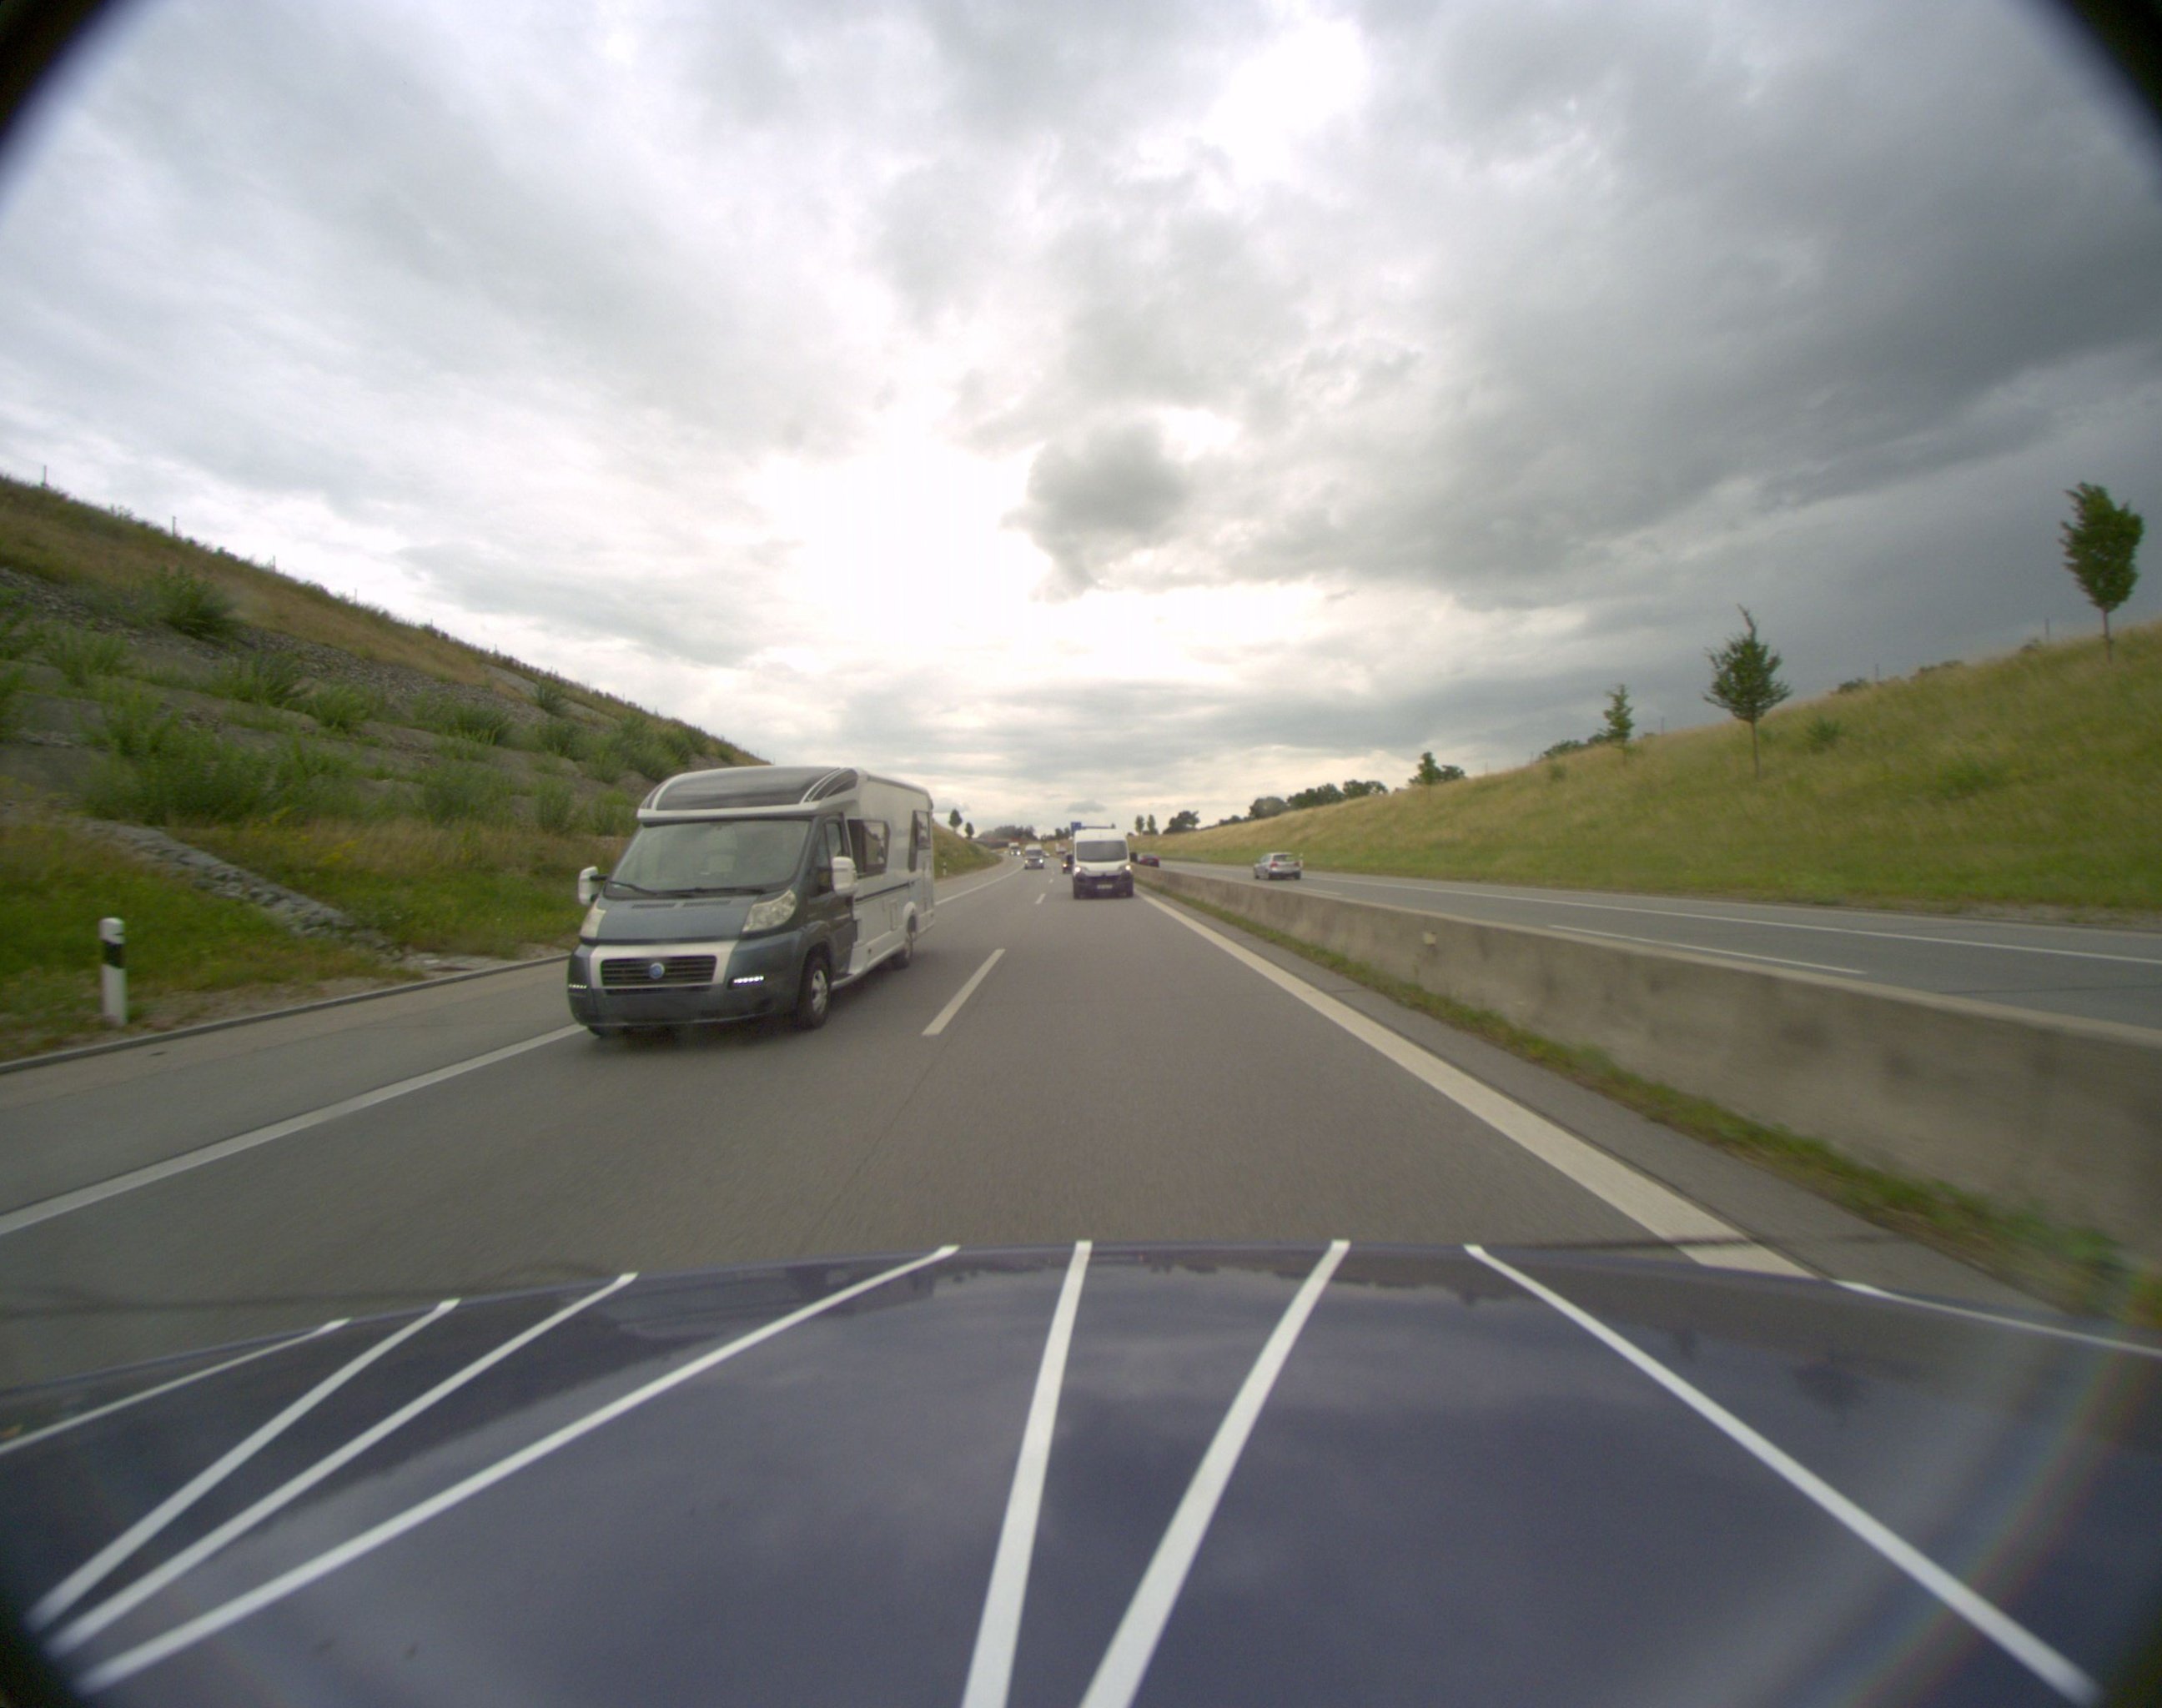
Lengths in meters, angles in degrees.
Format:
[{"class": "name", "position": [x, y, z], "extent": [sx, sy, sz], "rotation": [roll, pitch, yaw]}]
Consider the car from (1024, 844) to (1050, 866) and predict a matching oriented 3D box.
[{"class": "car", "position": [-4.735, 0.064, 82.362], "extent": [2.289, 2.259, 6.433], "rotation": [-1, 0, 2]}]

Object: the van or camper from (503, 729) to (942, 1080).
[{"class": "van or camper", "position": [-3.457, 0.393, 9.464], "extent": [2.103, 2.721, 6.901], "rotation": [-2, 0, 0]}]

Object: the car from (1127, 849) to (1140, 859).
[{"class": "car", "position": [7.639, -0.026, 111.661], "extent": [1.703, 1.432, 3.645], "rotation": [-1, 0, 1]}]

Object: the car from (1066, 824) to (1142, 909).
[{"class": "car", "position": [0.681, 0.349, 24.808], "extent": [2.132, 2.412, 6.111], "rotation": [-1, 0, 0]}]

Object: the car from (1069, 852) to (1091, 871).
[{"class": "car", "position": [-0.080, 0.596, 60.765], "extent": [1.703, 1.432, 3.645], "rotation": [-1, 0, 0]}]

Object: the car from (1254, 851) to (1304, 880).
[{"class": "car", "position": [10.640, 0.591, 41.002], "extent": [1.703, 1.432, 3.645], "rotation": [-1, 0, -1]}]

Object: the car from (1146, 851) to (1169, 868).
[{"class": "car", "position": [7.026, 0.473, 69.835], "extent": [1.703, 1.432, 3.645], "rotation": [-1, 0, -1]}]
